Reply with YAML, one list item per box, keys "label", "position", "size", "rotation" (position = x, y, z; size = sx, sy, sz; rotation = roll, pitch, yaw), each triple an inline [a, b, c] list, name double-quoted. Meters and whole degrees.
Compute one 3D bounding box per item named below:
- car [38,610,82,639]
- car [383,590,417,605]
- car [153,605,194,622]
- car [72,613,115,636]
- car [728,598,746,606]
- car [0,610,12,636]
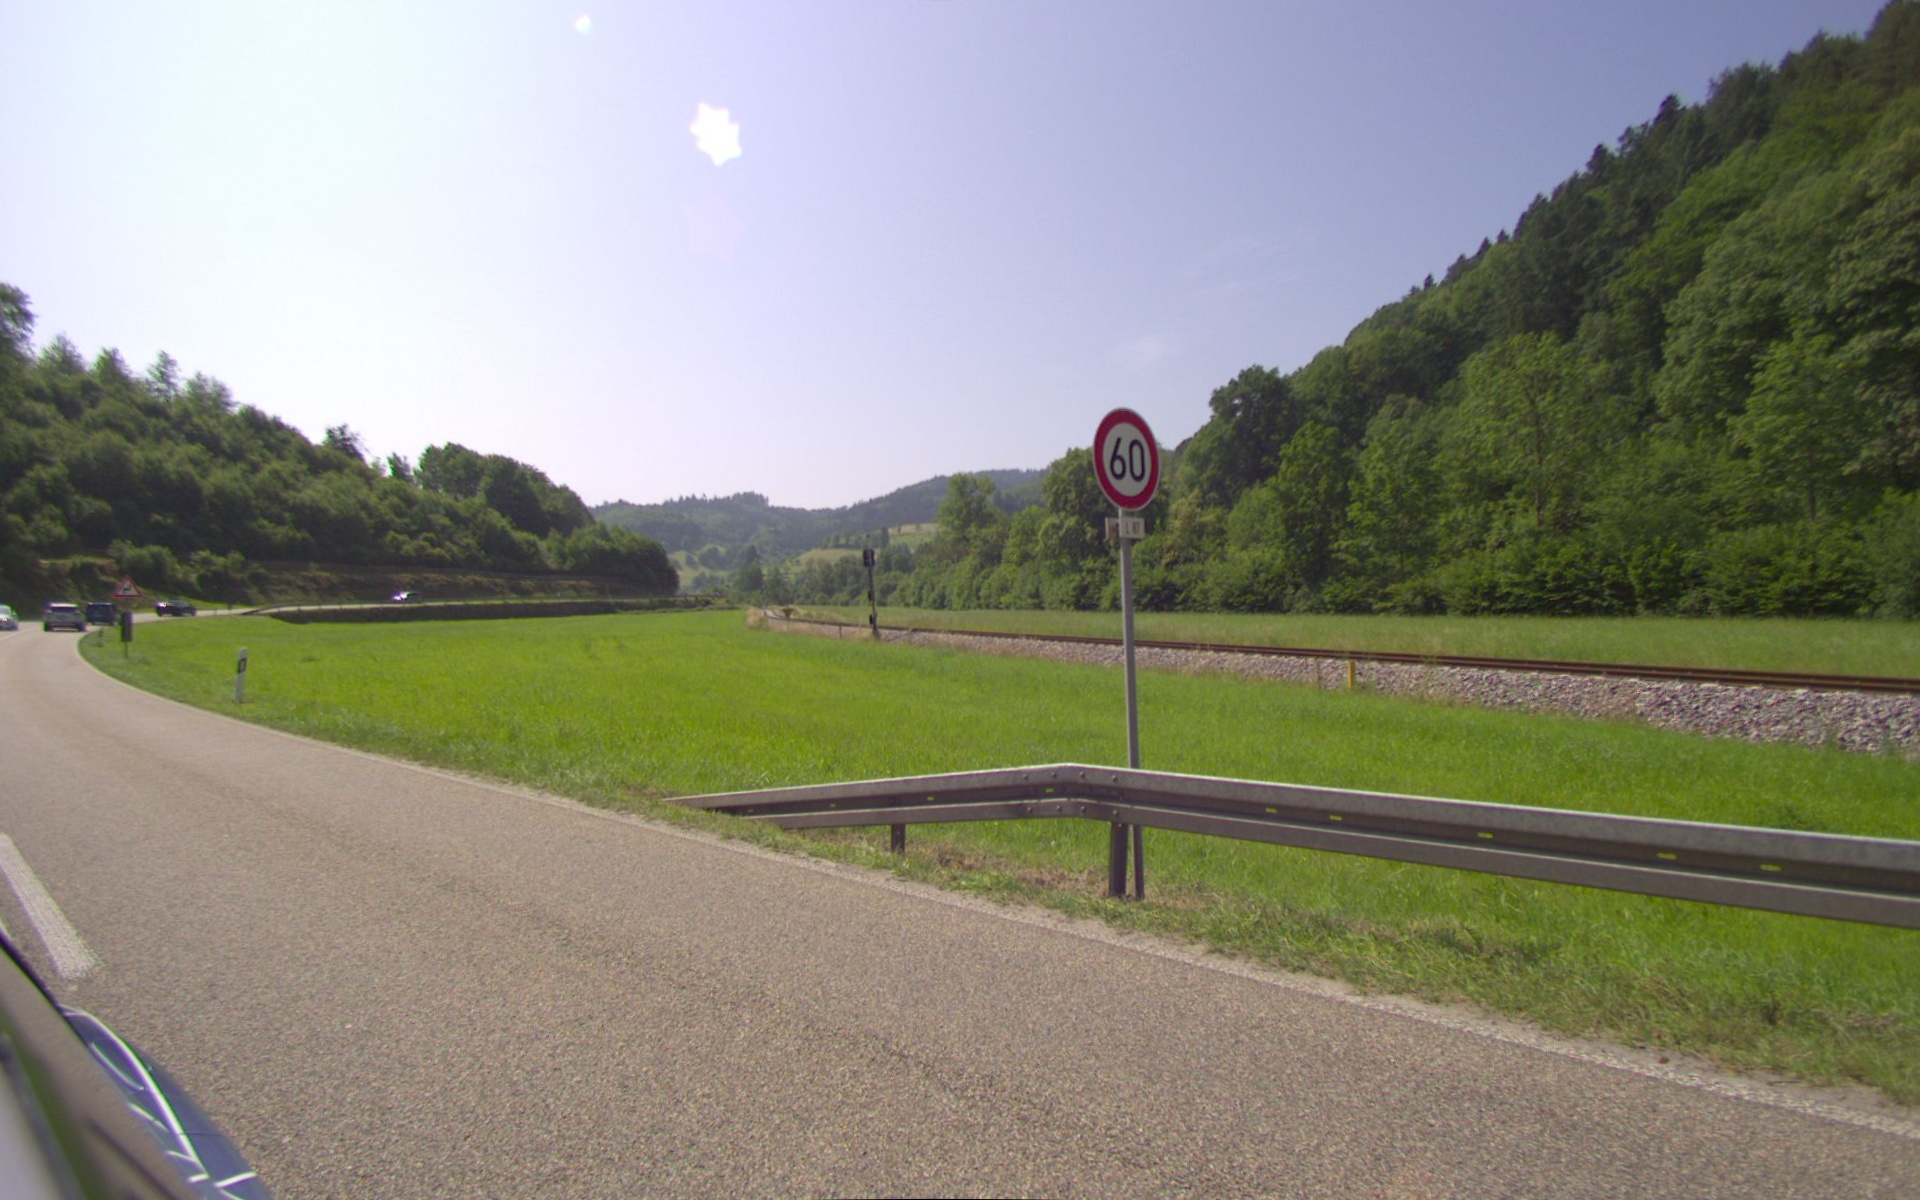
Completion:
- label: "car"
  position: [-55.172, 1.480, 62.096]
  size: [1.891, 1.727, 4.166]
  rotation: [1, -2, -40]
- label: "car"
  position: [-78.245, -0.309, 141.562]
  size: [1.981, 2.029, 3.981]
  rotation: [-1, -1, 15]
- label: "car"
  position: [-74.089, 1.241, 95.363]
  size: [1.889, 1.482, 4.525]
  rotation: [0, 0, -22]
- label: "car"
  position: [-64.216, 1.852, 75.053]
  size: [1.840, 1.636, 4.523]
  rotation: [0, -1, -33]
- label: "car"
  position: [-50.972, 0.436, 231.460]
  size: [1.938, 1.753, 4.871]
  rotation: [0, -1, 15]
- label: "car"
  position: [-58.934, 1.391, 61.267]
  size: [2.116, 1.502, 4.675]
  rotation: [3, -3, -44]
